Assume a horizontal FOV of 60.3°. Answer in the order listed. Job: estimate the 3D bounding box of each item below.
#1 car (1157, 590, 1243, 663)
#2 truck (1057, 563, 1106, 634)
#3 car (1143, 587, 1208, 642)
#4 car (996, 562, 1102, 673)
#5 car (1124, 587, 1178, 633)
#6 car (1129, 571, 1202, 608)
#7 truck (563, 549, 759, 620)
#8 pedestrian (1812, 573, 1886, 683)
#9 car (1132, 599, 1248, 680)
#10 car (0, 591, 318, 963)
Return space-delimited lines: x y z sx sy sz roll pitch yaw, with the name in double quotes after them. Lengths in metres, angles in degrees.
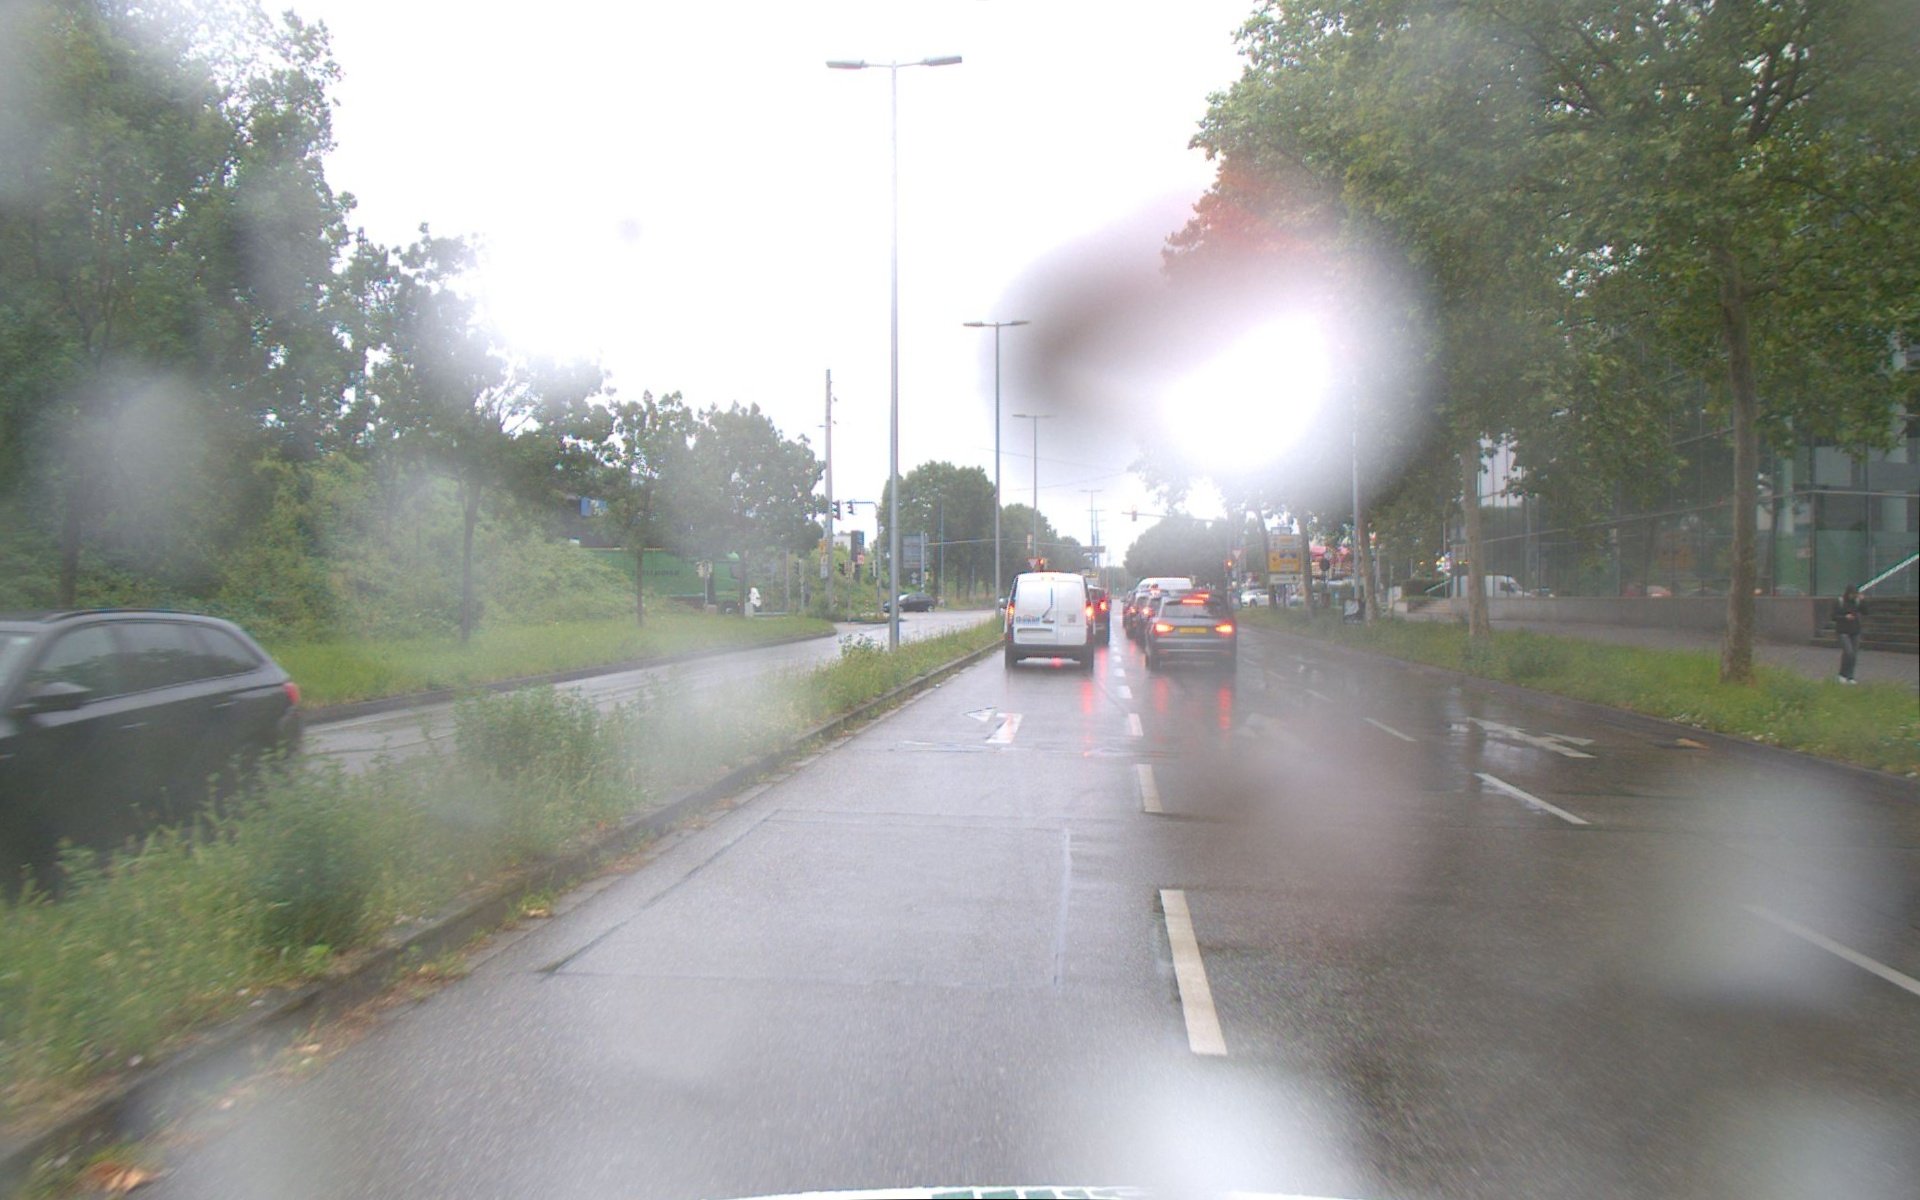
5.613 0.576 39.035 1.672 1.577 4.002 0 1 3 "car"
4.459 -0.060 61.155 1.720 2.509 4.002 0 0 3 "truck"
6.093 0.378 47.135 1.675 1.470 4.003 0 1 5 "car"
1.779 0.374 32.866 1.952 2.049 4.001 0 -1 3 "car"
6.266 0.303 54.578 1.675 1.470 4.003 0 1 5 "car"
16.531 -0.788 132.717 5.941 2.792 1.978 1 -2 -32 "car"
-15.831 -0.742 87.987 10.010 3.512 2.629 1 -2 -32 "truck"
14.807 0.452 27.565 0.650 1.793 1.075 0 0 -1 "pedestrian"
4.484 0.729 32.794 1.952 1.477 4.002 1 0 3 "car"
-5.091 0.784 8.740 1.685 1.646 4.346 0 0 0 "car"
